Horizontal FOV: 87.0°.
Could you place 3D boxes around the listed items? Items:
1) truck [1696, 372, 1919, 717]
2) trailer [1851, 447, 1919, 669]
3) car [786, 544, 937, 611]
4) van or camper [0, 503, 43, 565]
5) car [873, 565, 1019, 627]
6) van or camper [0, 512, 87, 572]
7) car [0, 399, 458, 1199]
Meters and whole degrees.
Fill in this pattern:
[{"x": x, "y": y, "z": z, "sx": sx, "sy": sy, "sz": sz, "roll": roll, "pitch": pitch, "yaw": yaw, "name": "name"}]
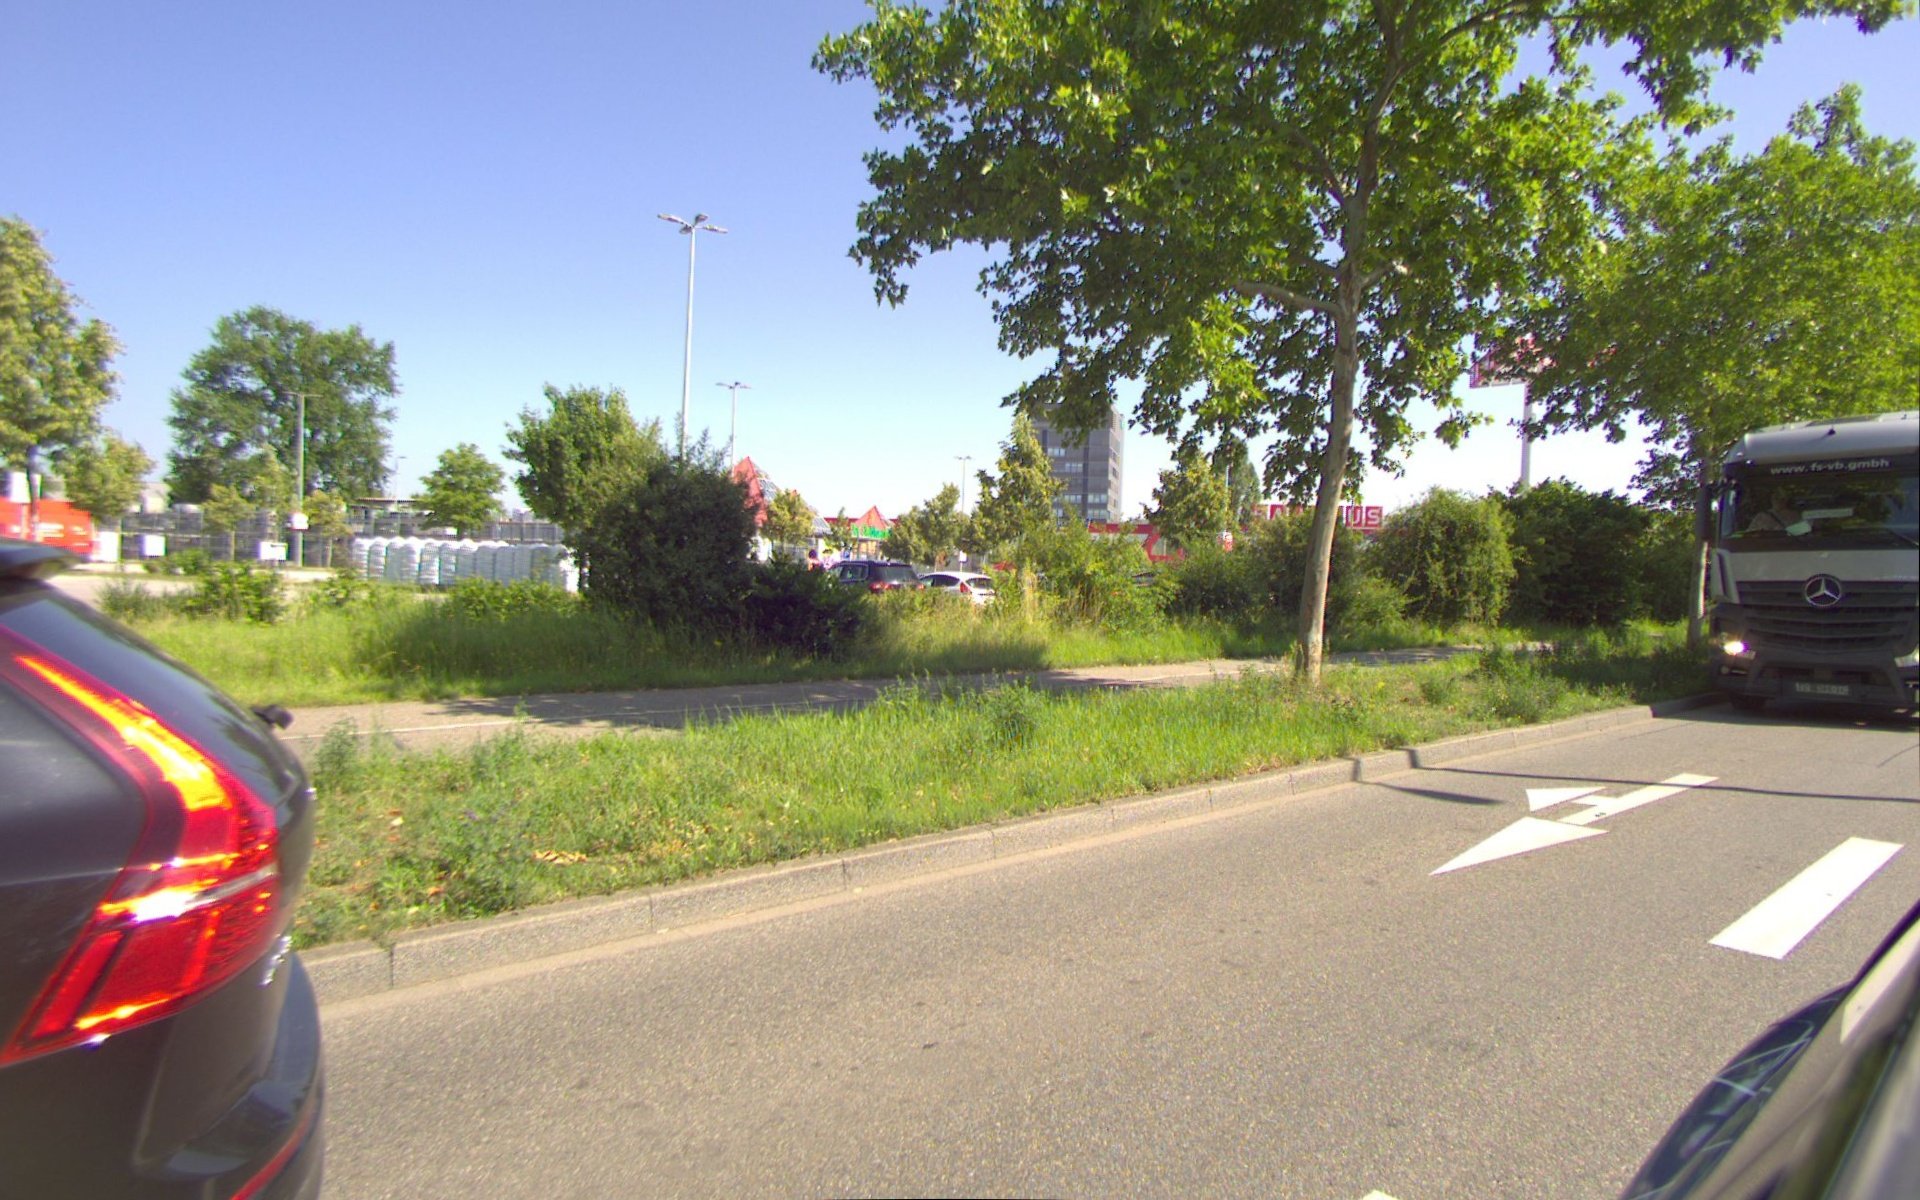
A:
[{"x": 13.857, "y": -0.701, "z": 14.815, "sx": 8.564, "sy": 3.938, "sz": 2.737, "roll": -1, "pitch": 2, "yaw": -38, "name": "truck"}, {"x": 20.177, "y": -0.765, "z": 19.863, "sx": 7.596, "sy": 3.925, "sz": 2.743, "roll": -1, "pitch": 2, "yaw": -39, "name": "trailer"}, {"x": -2.641, "y": -0.555, "z": 26.490, "sx": 1.850, "sy": 1.611, "sz": 4.075, "roll": -1, "pitch": 0, "yaw": -43, "name": "car"}, {"x": -48.843, "y": -3.279, "z": 48.611, "sx": 1.971, "sy": 2.979, "sz": 7.253, "roll": 0, "pitch": 0, "yaw": 15, "name": "van or camper"}, {"x": -0.449, "y": -0.121, "z": 28.439, "sx": 1.850, "sy": 1.611, "sz": 4.075, "roll": -1, "pitch": 0, "yaw": -43, "name": "car"}, {"x": -45.410, "y": -2.720, "z": 47.198, "sx": 1.971, "sy": 2.739, "sz": 7.253, "roll": 0, "pitch": 0, "yaw": 15, "name": "van or camper"}, {"x": -2.981, "y": 0.589, "z": 0.765, "sx": 4.356, "sy": 1.611, "sz": 1.878, "roll": -1, "pitch": 0, "yaw": -41, "name": "car"}]
